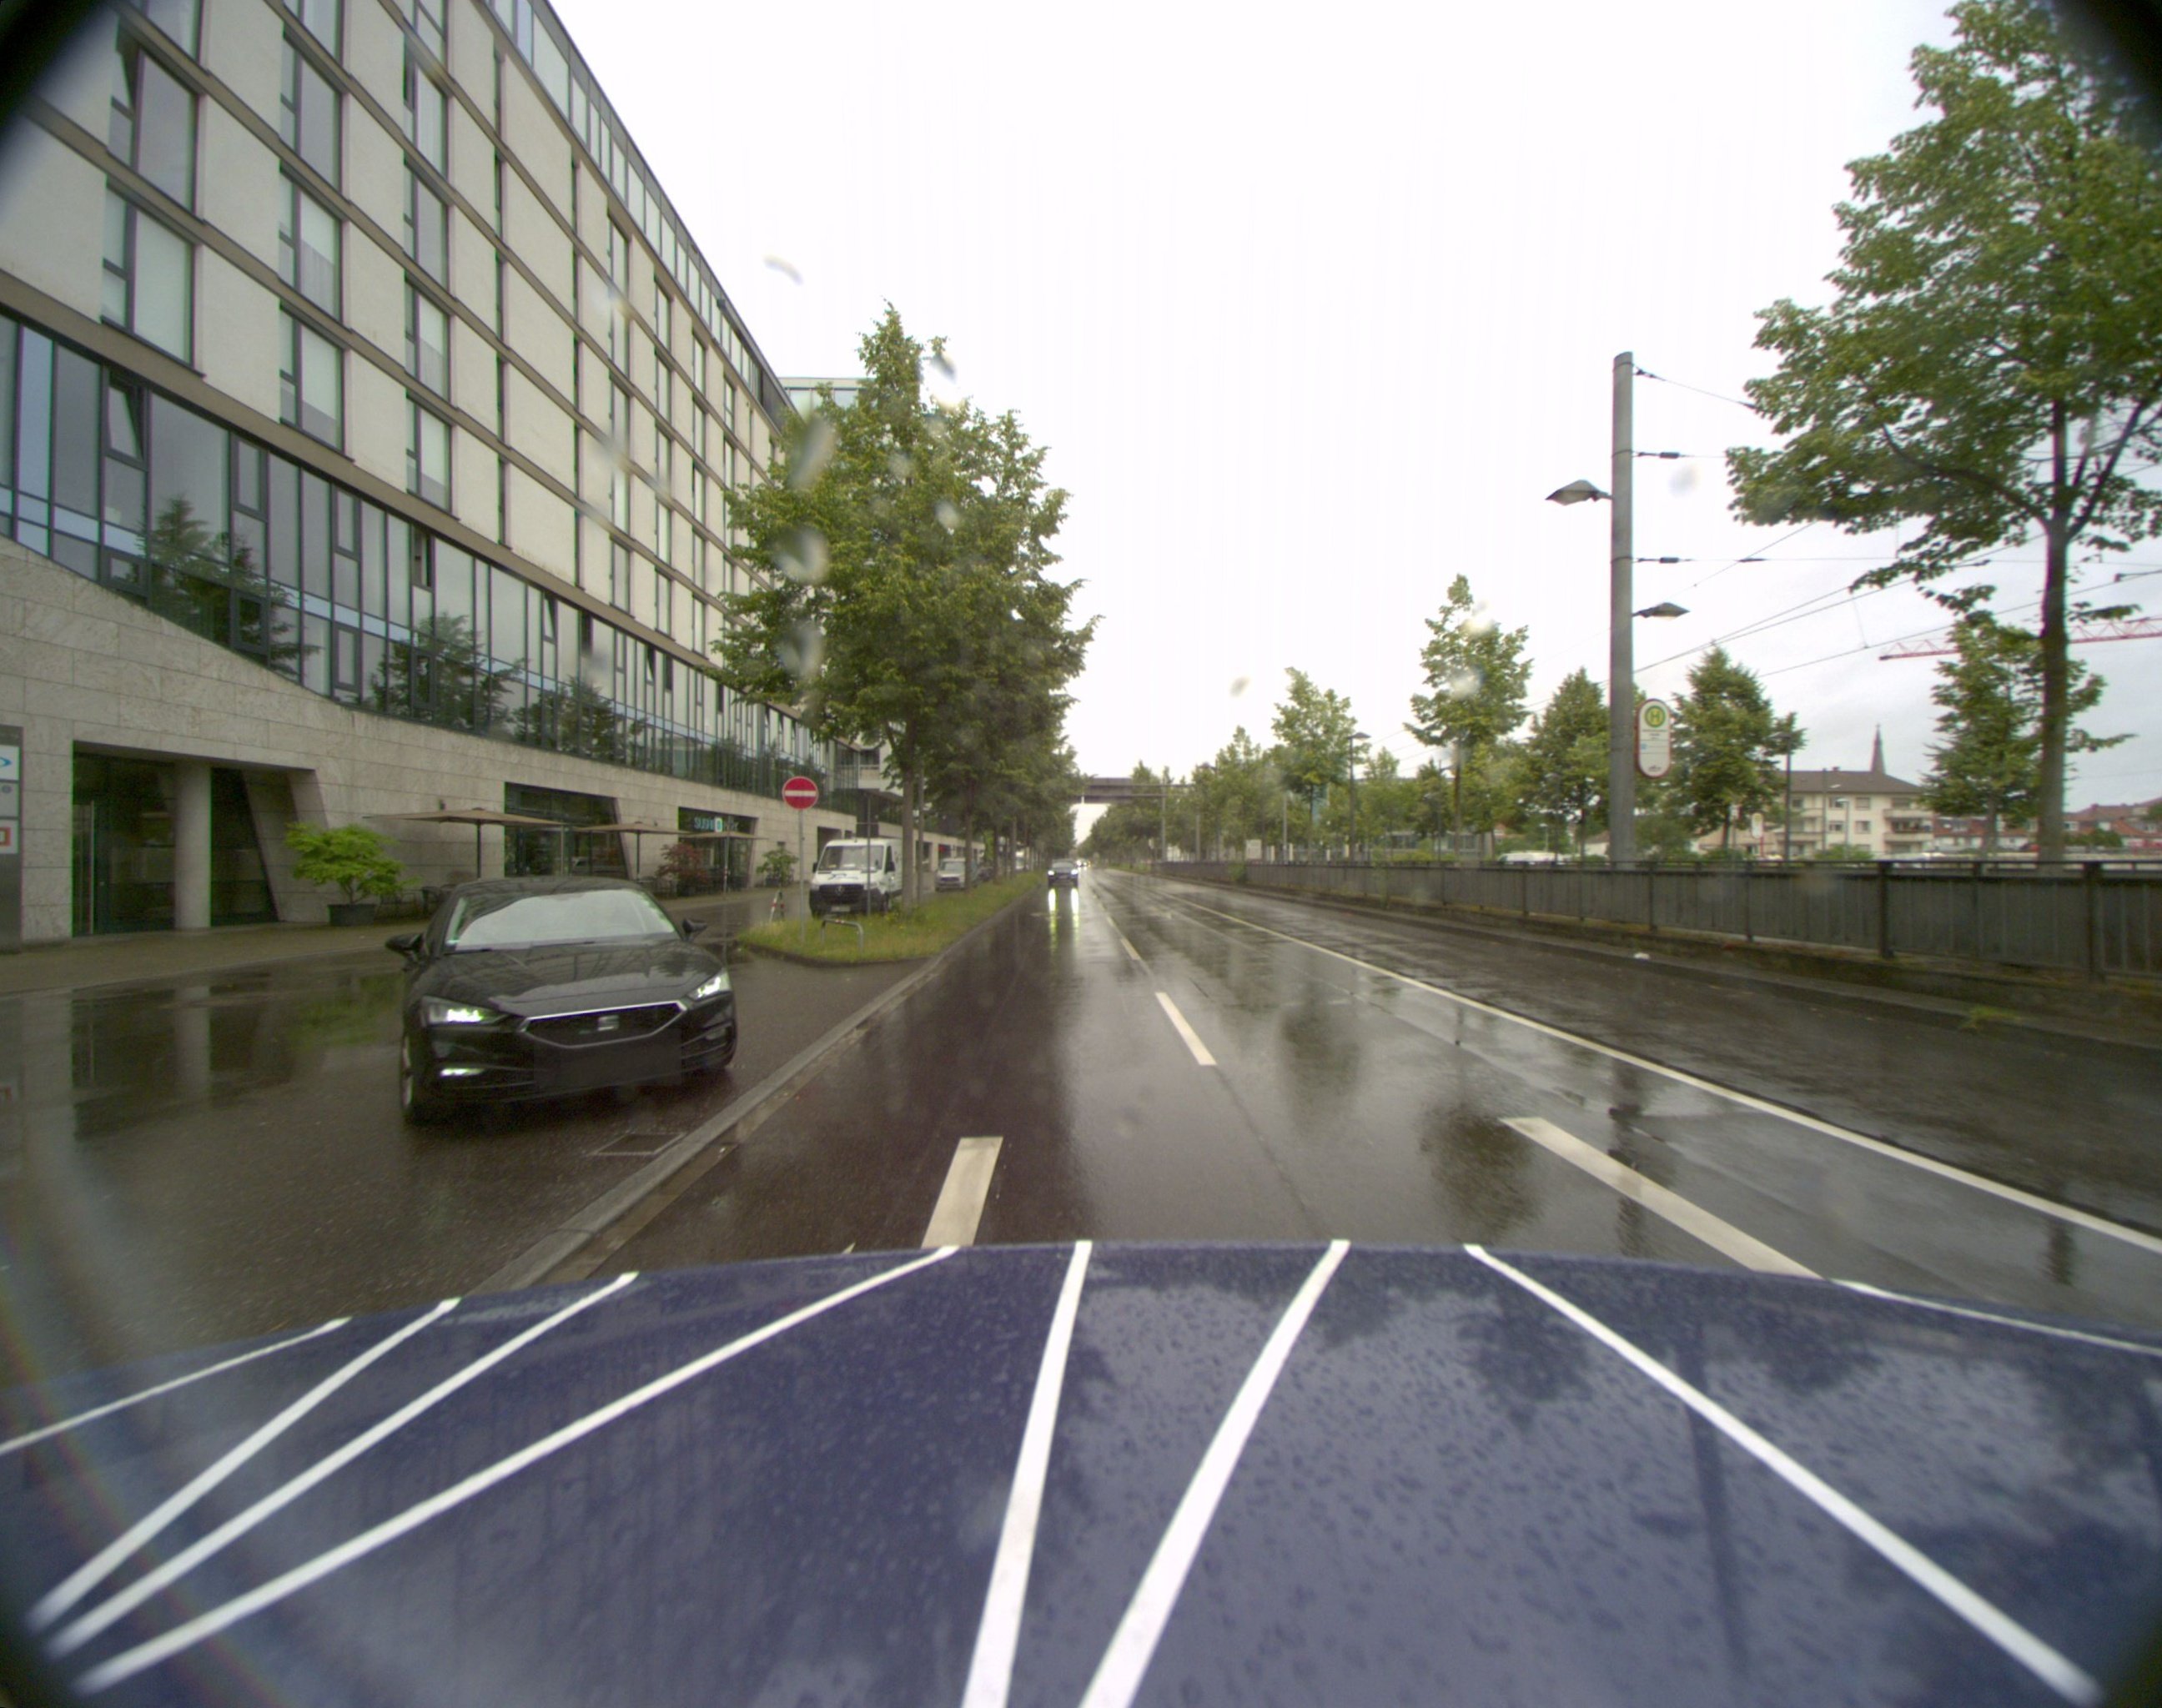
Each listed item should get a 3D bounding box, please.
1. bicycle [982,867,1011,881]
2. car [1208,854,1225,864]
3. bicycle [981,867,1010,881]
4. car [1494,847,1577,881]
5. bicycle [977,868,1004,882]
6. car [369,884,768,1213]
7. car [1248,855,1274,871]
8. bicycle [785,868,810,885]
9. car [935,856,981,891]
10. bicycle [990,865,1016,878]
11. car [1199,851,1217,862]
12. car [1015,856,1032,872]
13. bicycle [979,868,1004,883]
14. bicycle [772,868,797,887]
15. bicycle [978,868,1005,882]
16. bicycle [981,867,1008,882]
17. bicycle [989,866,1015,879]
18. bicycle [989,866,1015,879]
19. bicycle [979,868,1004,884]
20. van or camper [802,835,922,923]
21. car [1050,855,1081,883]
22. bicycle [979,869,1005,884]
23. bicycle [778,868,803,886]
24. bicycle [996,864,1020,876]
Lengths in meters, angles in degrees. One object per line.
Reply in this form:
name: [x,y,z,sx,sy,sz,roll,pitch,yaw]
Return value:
bicycle: [-6.177,1.460,55.523,2.040,0.940,0.395,-3,1,-4]
car: [24.140,0.906,135.378,1.999,1.736,3.999,-2,0,-3]
bicycle: [-6.194,1.461,55.083,2.007,0.940,0.395,-3,1,-4]
car: [25.017,0.517,42.010,1.999,1.736,3.999,-2,0,-3]
bicycle: [-6.332,1.480,53.333,1.793,0.940,0.395,-3,1,-4]
car: [-4.144,1.020,5.851,1.836,1.412,4.333,-1,0,-42]
car: [21.487,1.070,90.719,1.999,1.736,3.999,-2,0,-3]
bicycle: [-15.554,1.235,41.653,2.024,0.940,0.396,-2,1,45]
car: [-6.627,0.979,41.297,1.746,1.749,4.848,-1,0,-1]
bicycle: [-6.335,1.434,61.718,2.040,0.940,0.541,-2,1,-4]
car: [21.254,0.369,127.232,1.999,1.736,3.999,-2,0,-3]
car: [-6.859,1.145,90.492,1.659,1.710,3.999,-2,0,-1]
bicycle: [-6.216,1.504,52.812,1.649,0.940,0.395,-3,1,-4]
bicycle: [-15.683,1.246,40.117,2.024,0.940,0.396,-2,1,45]
bicycle: [-6.371,1.478,54.012,1.862,0.940,0.395,-3,1,-4]
bicycle: [-6.196,1.465,54.588,1.883,0.940,0.395,-3,1,-4]
bicycle: [-6.285,1.439,60.401,2.040,0.940,0.542,-2,1,-4]
bicycle: [-6.175,1.439,59.447,2.040,0.940,0.466,-3,1,-4]
bicycle: [-6.043,1.491,51.389,1.666,0.940,0.395,-3,1,-4]
van or camper: [-6.320,0.660,22.655,2.031,2.279,5.459,-1,0,-1]
car: [-0.962,0.946,48.398,1.816,1.603,4.000,-2,0,0]
bicycle: [-6.113,1.510,52.102,1.699,0.940,0.395,-3,1,-4]
bicycle: [-15.692,1.242,40.988,2.024,0.940,0.396,-2,1,45]
bicycle: [-6.257,1.349,65.082,2.040,0.940,0.519,-2,1,-4]
